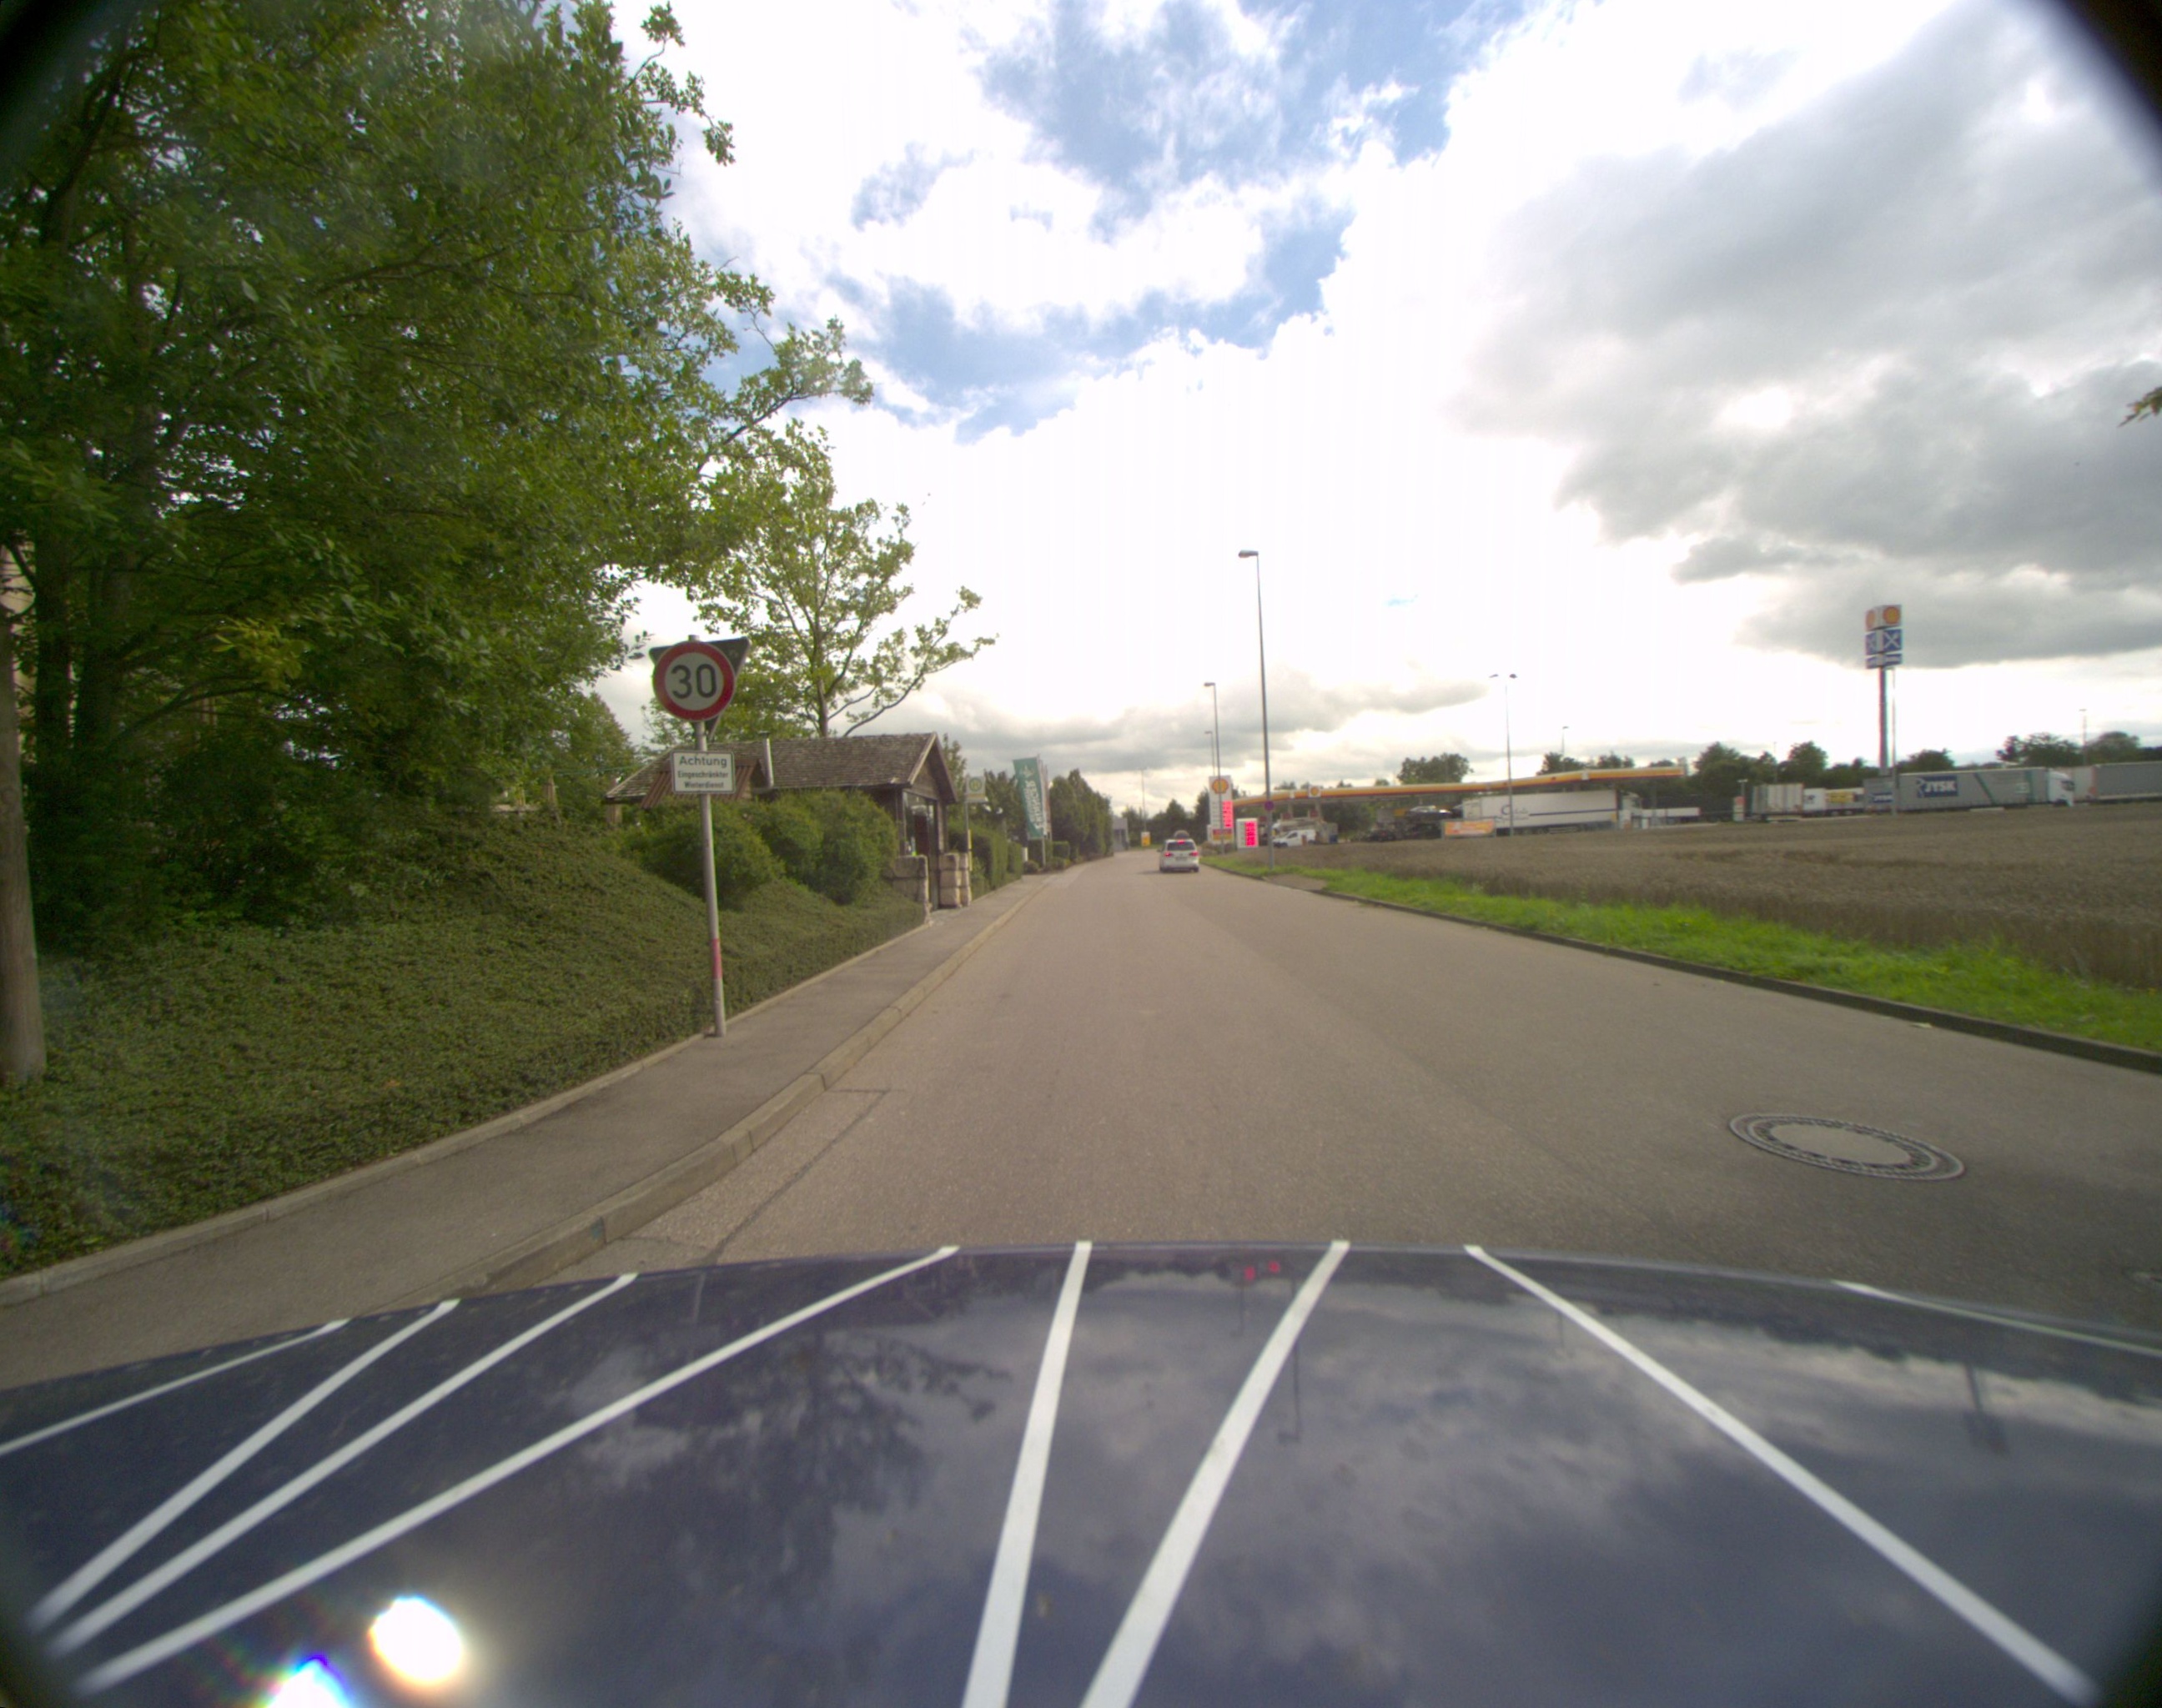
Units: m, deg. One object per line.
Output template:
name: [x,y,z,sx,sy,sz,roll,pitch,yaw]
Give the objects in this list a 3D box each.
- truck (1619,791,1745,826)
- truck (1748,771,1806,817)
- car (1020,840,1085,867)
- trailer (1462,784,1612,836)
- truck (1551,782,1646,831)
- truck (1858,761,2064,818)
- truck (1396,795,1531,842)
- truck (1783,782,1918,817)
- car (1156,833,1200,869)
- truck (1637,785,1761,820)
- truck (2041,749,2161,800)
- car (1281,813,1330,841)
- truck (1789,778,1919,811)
truck: [78.194,-5.843,99.314,12.773,3.872,2.829,-1,3,37]
truck: [71.050,-6.106,77.834,2.955,4.090,14.773,-1,3,37]
car: [-2.047,-0.069,55.231,4.357,1.707,1.658,-3,1,10]
trailer: [41.725,-4.030,69.622,12.846,4.002,2.710,-3,1,-8]
truck: [47.958,-4.365,70.463,7.168,4.002,2.710,-3,1,-8]
truck: [73.467,-5.373,63.527,15.456,3.872,2.822,-3,3,-5]
truck: [37.406,-3.504,74.193,13.264,3.902,2.748,-3,3,-15]
truck: [106.212,-7.472,105.303,12.773,3.872,2.829,-1,3,37]
car: [4.813,-0.176,38.203,1.703,1.656,4.031,-2,1,1]
truck: [83.943,-6.947,103.652,12.977,3.872,2.829,-1,3,38]
truck: [91.916,-7.029,66.229,15.459,3.872,2.821,-3,3,-8]
car: [24.611,-3.015,83.234,5.818,2.771,2.218,-4,2,-39]
truck: [110.688,-8.460,109.210,12.773,3.872,2.829,-1,3,37]
